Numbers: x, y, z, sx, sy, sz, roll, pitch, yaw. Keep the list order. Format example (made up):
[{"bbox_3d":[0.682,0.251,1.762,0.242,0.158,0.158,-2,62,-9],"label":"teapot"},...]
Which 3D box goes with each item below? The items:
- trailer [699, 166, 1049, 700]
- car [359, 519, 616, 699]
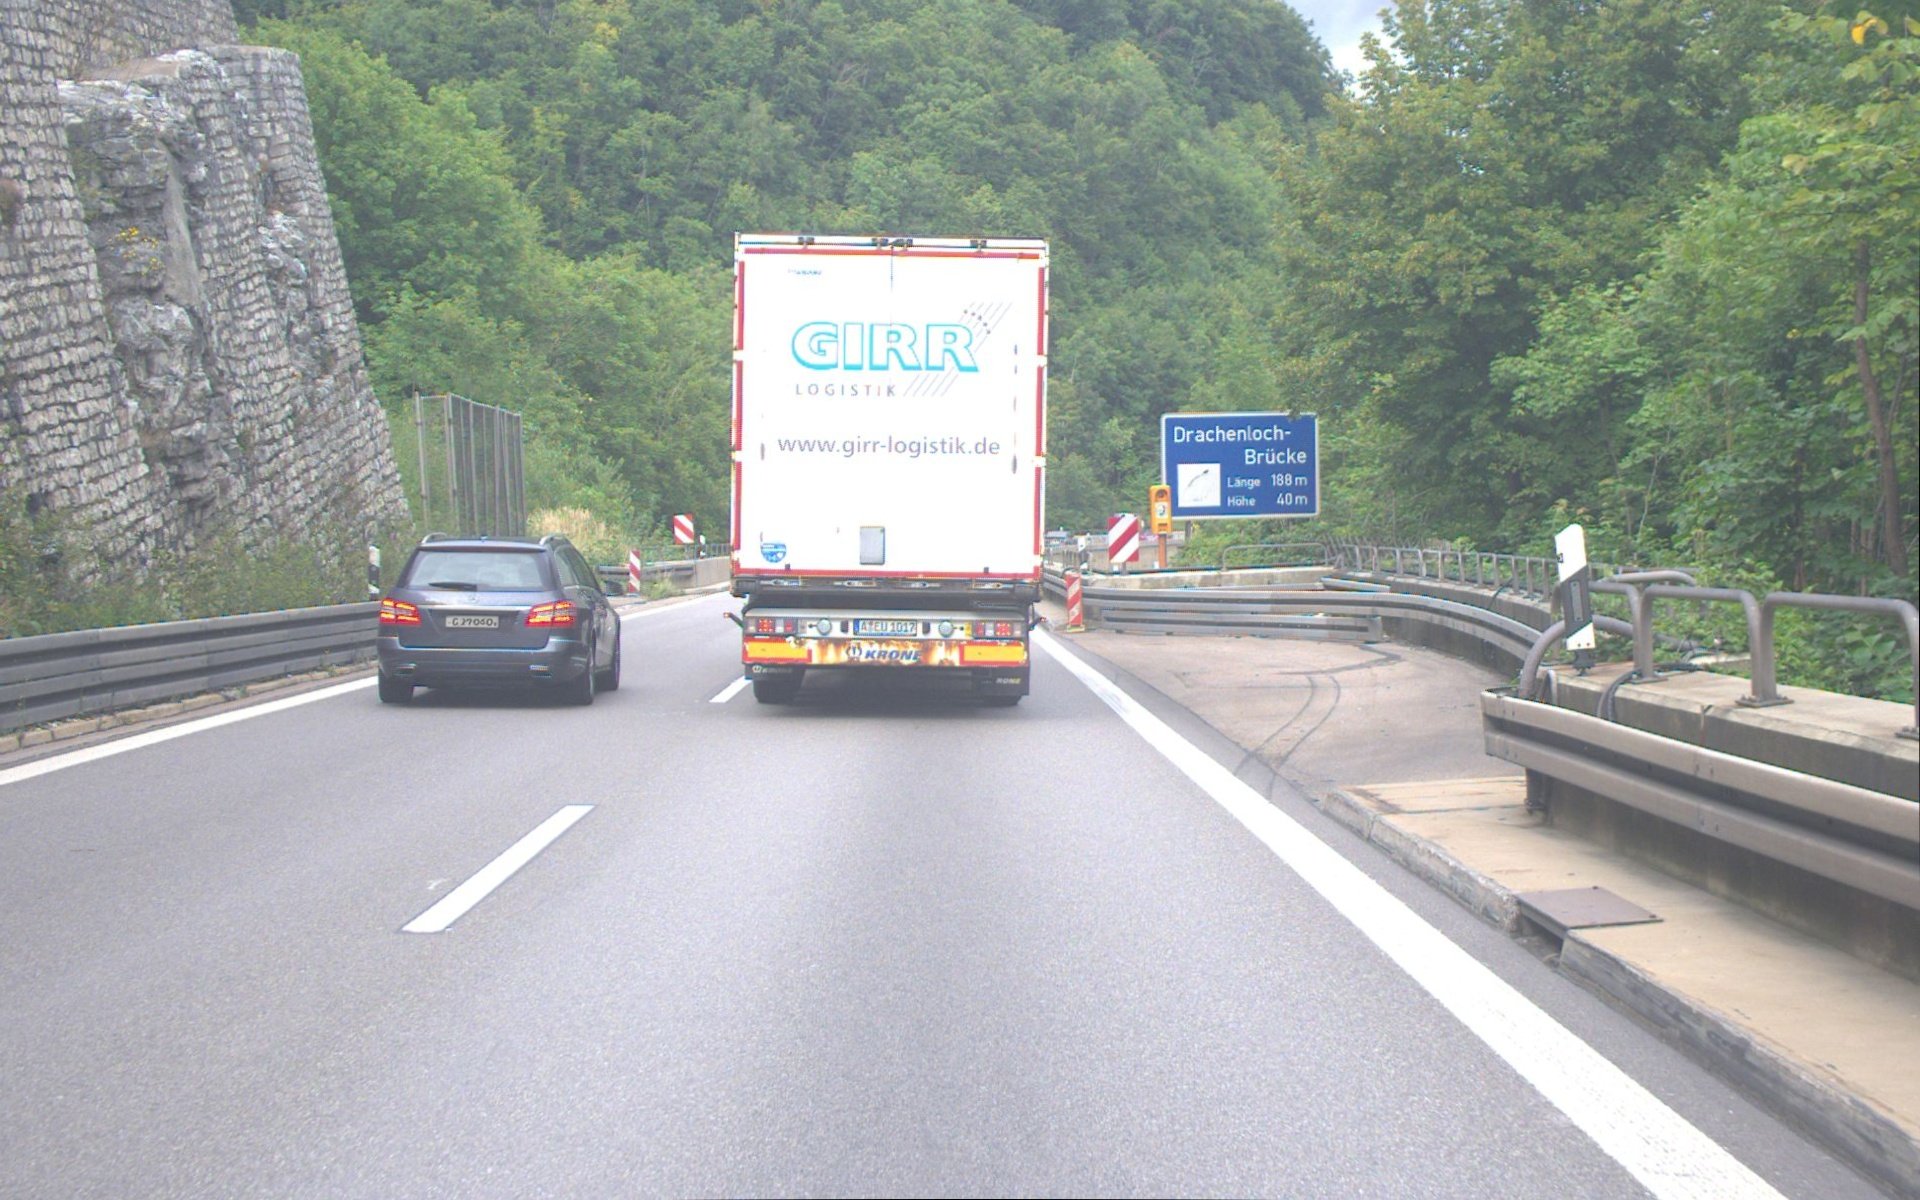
[{"bbox_3d":[-0.868,-1.405,33.764,2.813,4.288,12.246,0,1,-2],"label":"trailer"},{"bbox_3d":[-4.186,0.051,31.049,1.883,1.505,4.419,0,1,-2],"label":"car"}]
